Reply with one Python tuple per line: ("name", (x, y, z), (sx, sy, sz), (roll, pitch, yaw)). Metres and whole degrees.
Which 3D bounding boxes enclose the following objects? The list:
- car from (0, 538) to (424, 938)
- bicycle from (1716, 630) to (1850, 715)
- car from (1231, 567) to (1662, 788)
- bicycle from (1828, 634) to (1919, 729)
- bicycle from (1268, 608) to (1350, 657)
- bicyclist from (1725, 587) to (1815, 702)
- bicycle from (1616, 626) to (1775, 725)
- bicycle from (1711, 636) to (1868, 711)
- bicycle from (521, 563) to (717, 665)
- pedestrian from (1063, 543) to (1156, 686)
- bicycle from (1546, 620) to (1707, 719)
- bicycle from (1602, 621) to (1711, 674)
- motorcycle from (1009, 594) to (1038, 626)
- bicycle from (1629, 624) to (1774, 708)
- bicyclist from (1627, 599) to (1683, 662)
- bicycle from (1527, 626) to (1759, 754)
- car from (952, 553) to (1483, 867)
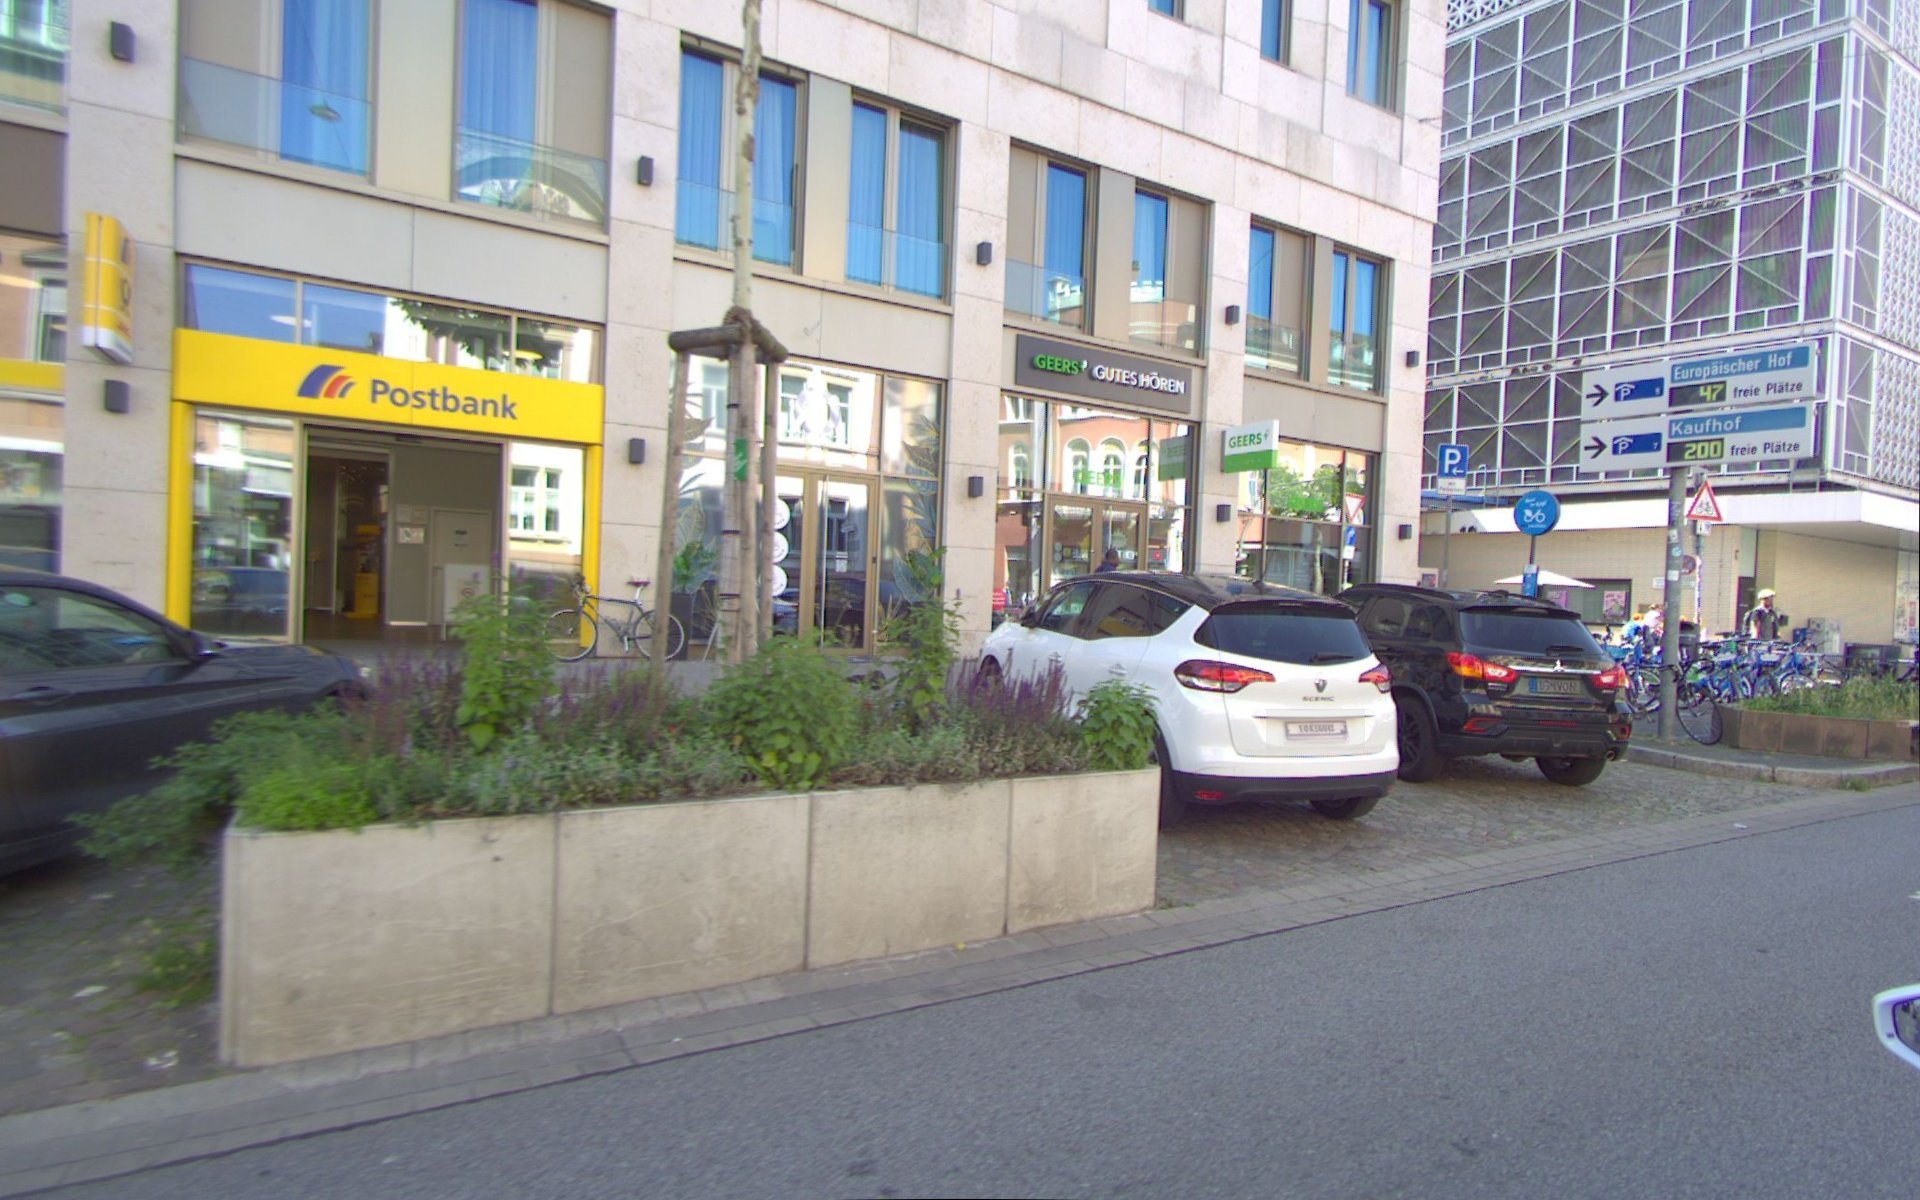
("car", (-4.530, 0.503, 4.435), (1.751, 1.469, 4.319), (3, 3, 4))
("bicycle", (12.914, 1.096, 15.852), (0.593, 1.184, 2.066), (2, 0, 7))
("car", (4.453, 0.572, 10.039), (1.922, 1.624, 4.029), (4, 2, -7))
("bicycle", (13.283, 1.127, 14.225), (0.593, 1.189, 2.065), (3, 1, 15))
("bicycle", (9.052, 0.835, 26.147), (0.632, 1.141, 2.048), (5, -1, -29))
("bicyclist", (14.575, 0.787, 18.080), (1.003, 1.986, 0.839), (2, 1, -24))
("bicycle", (10.324, 1.022, 14.206), (0.551, 1.142, 2.062), (2, 3, -5))
("bicycle", (14.544, 1.259, 17.685), (0.787, 1.142, 1.982), (1, 1, -22))
("bicycle", (-4.042, 0.177, 11.997), (2.136, 1.122, 0.493), (1, 3, -30))
("pedestrian", (2.098, 0.195, 14.143), (0.834, 1.904, 0.834), (2, 4, -29))
("bicycle", (9.538, 0.947, 14.518), (0.551, 1.142, 2.327), (3, 2, -5))
("bicycle", (17.583, 1.175, 25.419), (2.170, 1.284, 0.735), (0, 0, 26))
("motorcycle", (2.576, 0.391, 40.602), (0.693, 1.213, 2.065), (3, 1, 16))
("bicycle", (11.630, 1.004, 15.847), (0.634, 1.142, 2.063), (2, 1, -3))
("bicyclist", (17.584, 0.754, 25.421), (1.057, 1.559, 0.735), (0, 0, 26))
("bicycle", (7.570, 0.943, 11.280), (0.479, 1.142, 2.131), (0, 3, -28))
("car", (1.659, 0.594, 8.129), (2.071, 1.659, 4.149), (2, 4, -21))
